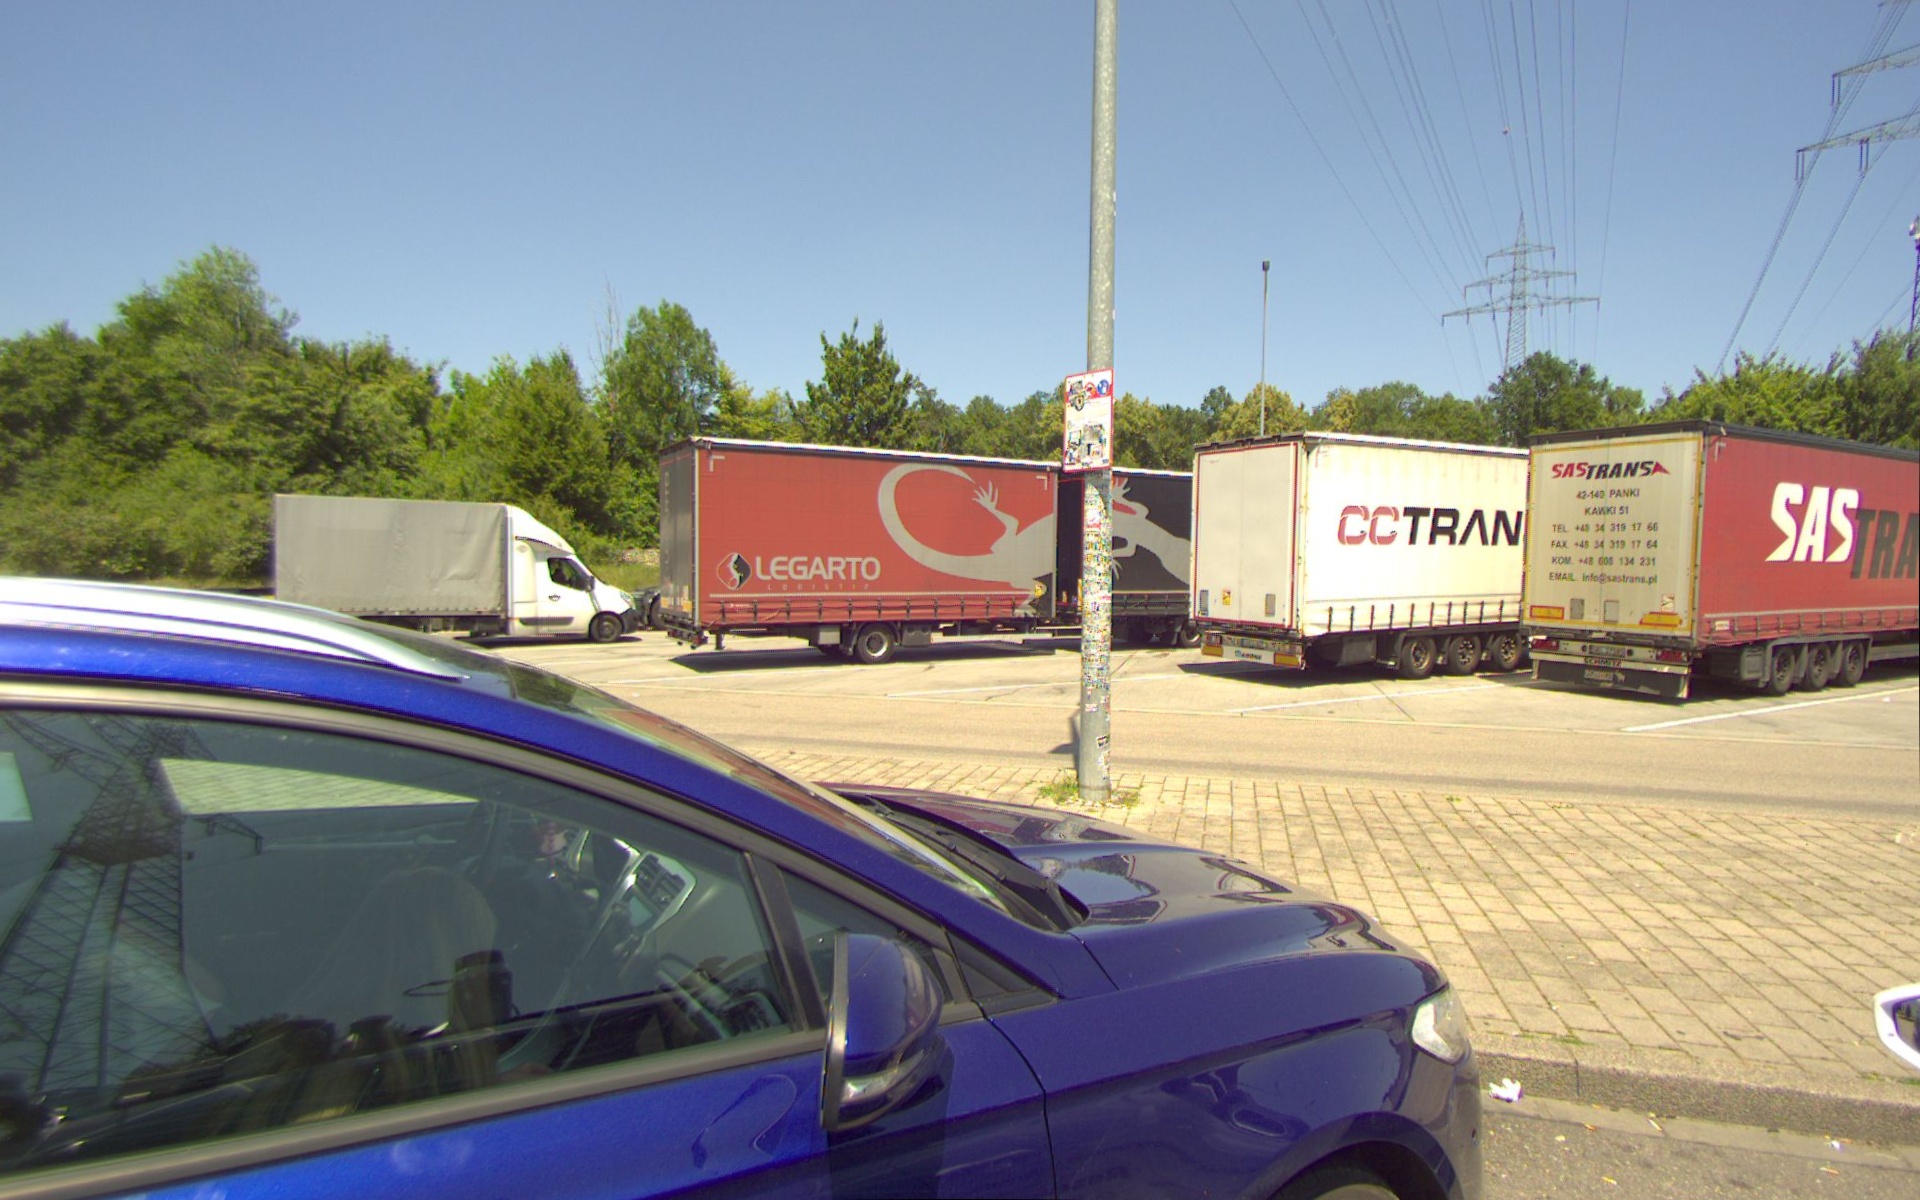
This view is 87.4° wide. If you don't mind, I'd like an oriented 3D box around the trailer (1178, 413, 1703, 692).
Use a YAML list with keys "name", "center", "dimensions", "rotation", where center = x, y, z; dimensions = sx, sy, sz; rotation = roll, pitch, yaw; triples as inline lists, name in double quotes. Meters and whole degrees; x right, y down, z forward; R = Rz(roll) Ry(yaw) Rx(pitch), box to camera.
- name: "trailer"
  center: [10.111, -0.879, 20.065]
  dimensions: [12.786, 4.325, 2.800]
  rotation: [-1, 2, -31]

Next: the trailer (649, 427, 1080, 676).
- name: "trailer"
  center: [-1.743, -0.928, 20.502]
  dimensions: [8.389, 4.248, 2.800]
  rotation: [-1, 2, -30]

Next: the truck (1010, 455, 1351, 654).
- name: "truck"
  center: [5.603, -1.077, 24.826]
  dimensions: [8.683, 4.248, 2.800]
  rotation: [-1, 2, -30]

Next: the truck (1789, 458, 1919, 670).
- name: "truck"
  center: [21.142, -0.770, 21.863]
  dimensions: [6.163, 4.169, 2.683]
  rotation: [-1, 3, -30]

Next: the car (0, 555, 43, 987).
- name: "car"
  center: [-4.612, 0.560, 2.114]
  dimensions: [3.700, 1.432, 1.595]
  rotation: [0, 0, -32]

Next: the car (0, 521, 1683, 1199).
- name: "car"
  center: [-0.986, 0.674, 1.463]
  dimensions: [4.380, 1.464, 1.771]
  rotation: [0, 0, -32]

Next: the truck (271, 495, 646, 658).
- name: "truck"
  center: [-11.115, -0.586, 22.872]
  dimensions: [7.219, 3.277, 2.308]
  rotation: [-2, 3, -29]

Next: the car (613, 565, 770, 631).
- name: "car"
  center: [-7.605, -0.049, 28.514]
  dimensions: [3.953, 1.773, 1.902]
  rotation: [0, 0, -30]

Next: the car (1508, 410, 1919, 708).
- name: "car"
  center: [15.217, -0.690, 18.452]
  dimensions: [12.777, 4.169, 2.683]
  rotation: [-1, 3, -30]

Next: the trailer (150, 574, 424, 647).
- name: "trailer"
  center: [-15.950, 0.240, 24.178]
  dimensions: [5.332, 1.617, 1.585]
  rotation: [0, 0, -30]
